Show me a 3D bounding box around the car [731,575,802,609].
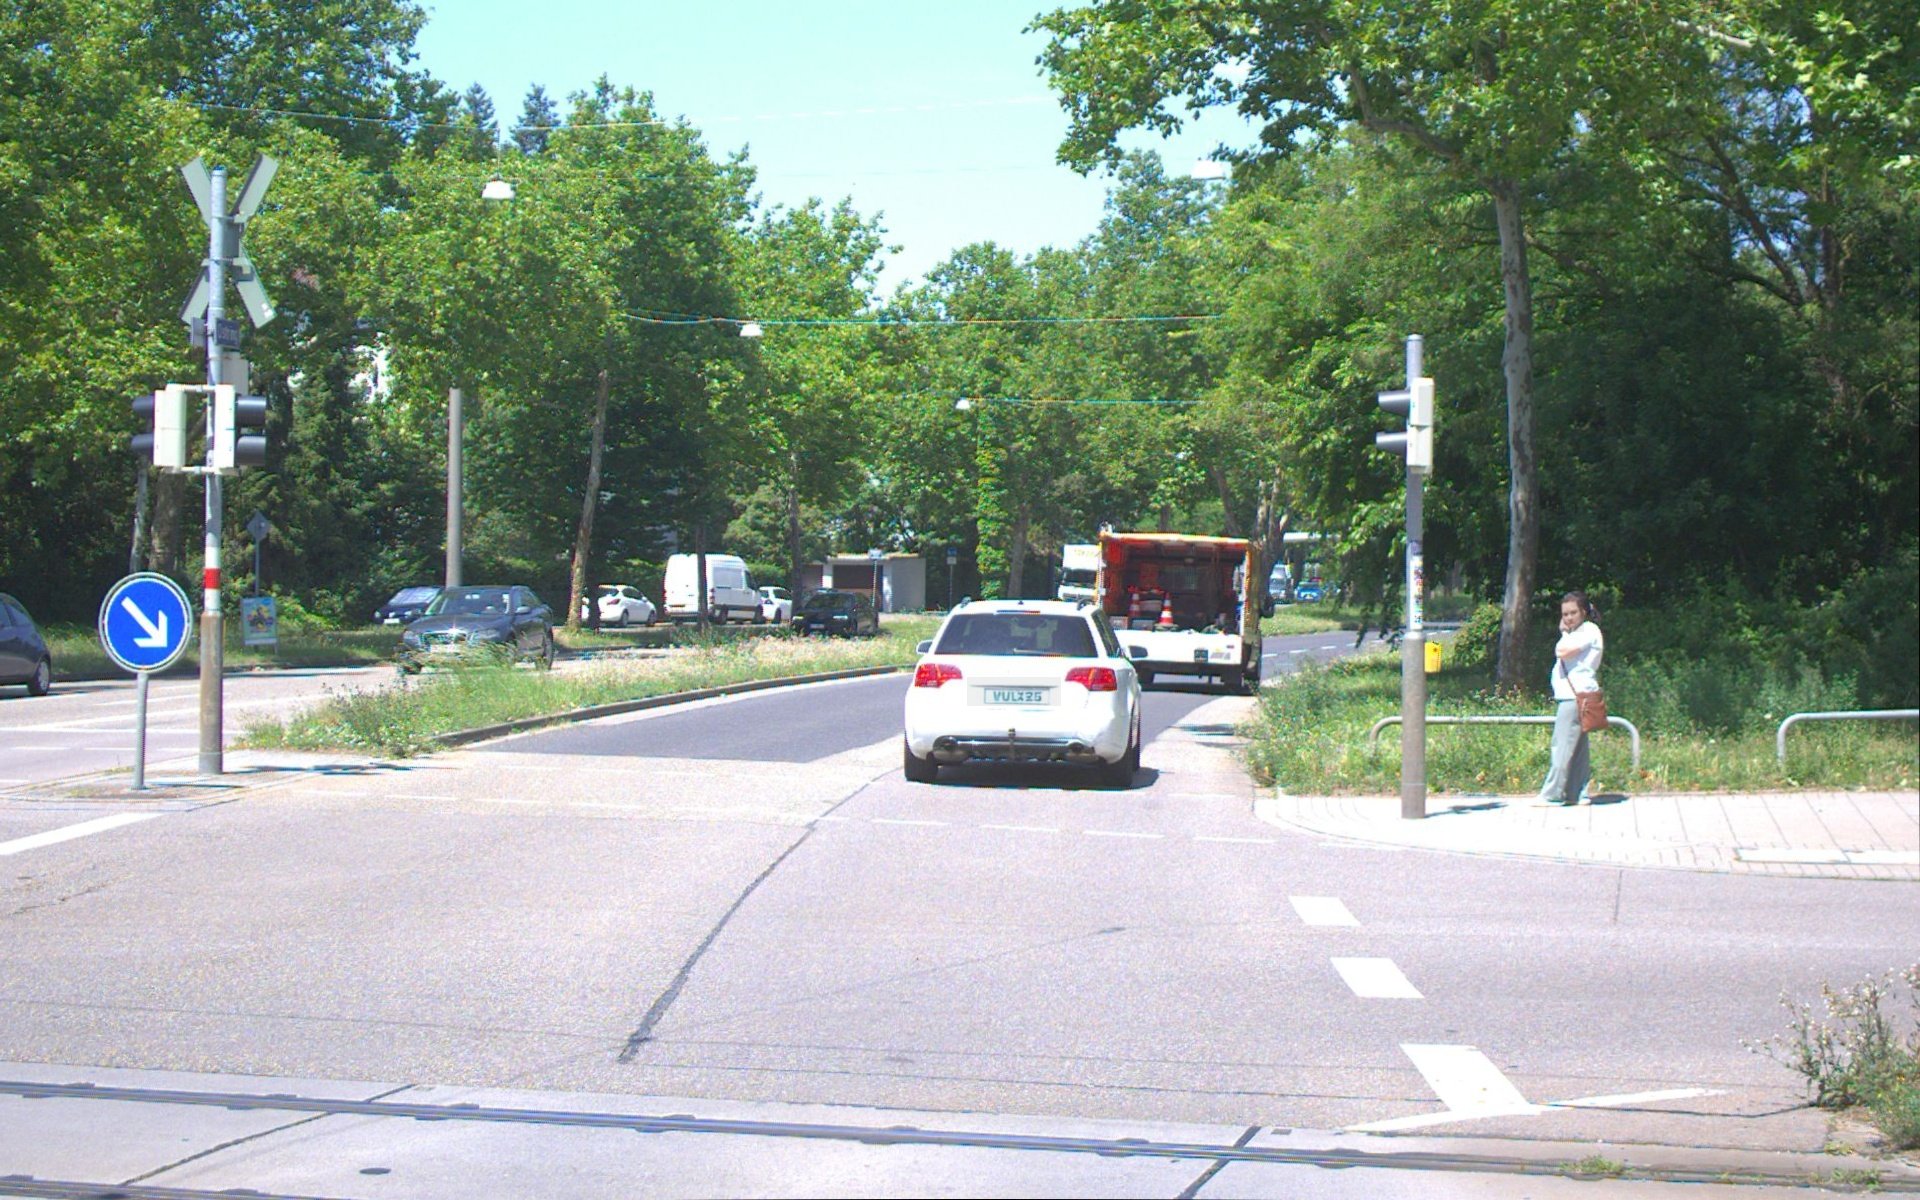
[{"bbox_3d":[-7.504,-0.320,133.677,1.694,1.279,3.800,1,1,13],"label":"car"}]

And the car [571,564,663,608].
[{"bbox_3d":[-11.813,-0.496,118.532,1.883,1.469,3.997,1,1,14],"label":"car"}]

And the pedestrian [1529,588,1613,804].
[{"bbox_3d":[4.284,0.661,24.093,0.553,1.479,0.629,1,1,11],"label":"pedestrian"}]

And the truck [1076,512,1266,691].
[{"bbox_3d":[3.457,-0.062,54.657,2.512,2.550,7.602,3,1,6],"label":"truck"}]

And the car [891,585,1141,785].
[{"bbox_3d":[0.512,0.624,27.388,1.763,1.440,3.615,1,1,4],"label":"car"}]

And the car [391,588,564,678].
[{"bbox_3d":[-7.869,0.515,56.447,1.736,1.390,4.177,-1,0,8],"label":"car"}]

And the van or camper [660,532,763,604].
[{"bbox_3d":[-9.178,-1.201,127.538,2.184,2.578,5.305,1,1,15],"label":"van or camper"}]

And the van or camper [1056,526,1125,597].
[{"bbox_3d":[6.313,-1.874,165.983,2.662,3.320,5.498,1,1,9],"label":"van or camper"}]

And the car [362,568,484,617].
[{"bbox_3d":[-16.111,-0.233,103.321,1.883,1.388,3.996,1,1,21],"label":"car"}]

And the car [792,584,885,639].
[{"bbox_3d":[-3.519,0.318,100.161,1.813,1.501,4.591,1,1,10],"label":"car"}]

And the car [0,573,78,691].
[{"bbox_3d":[-12.803,0.394,43.632,1.721,1.450,3.867,1,1,9],"label":"car"}]
